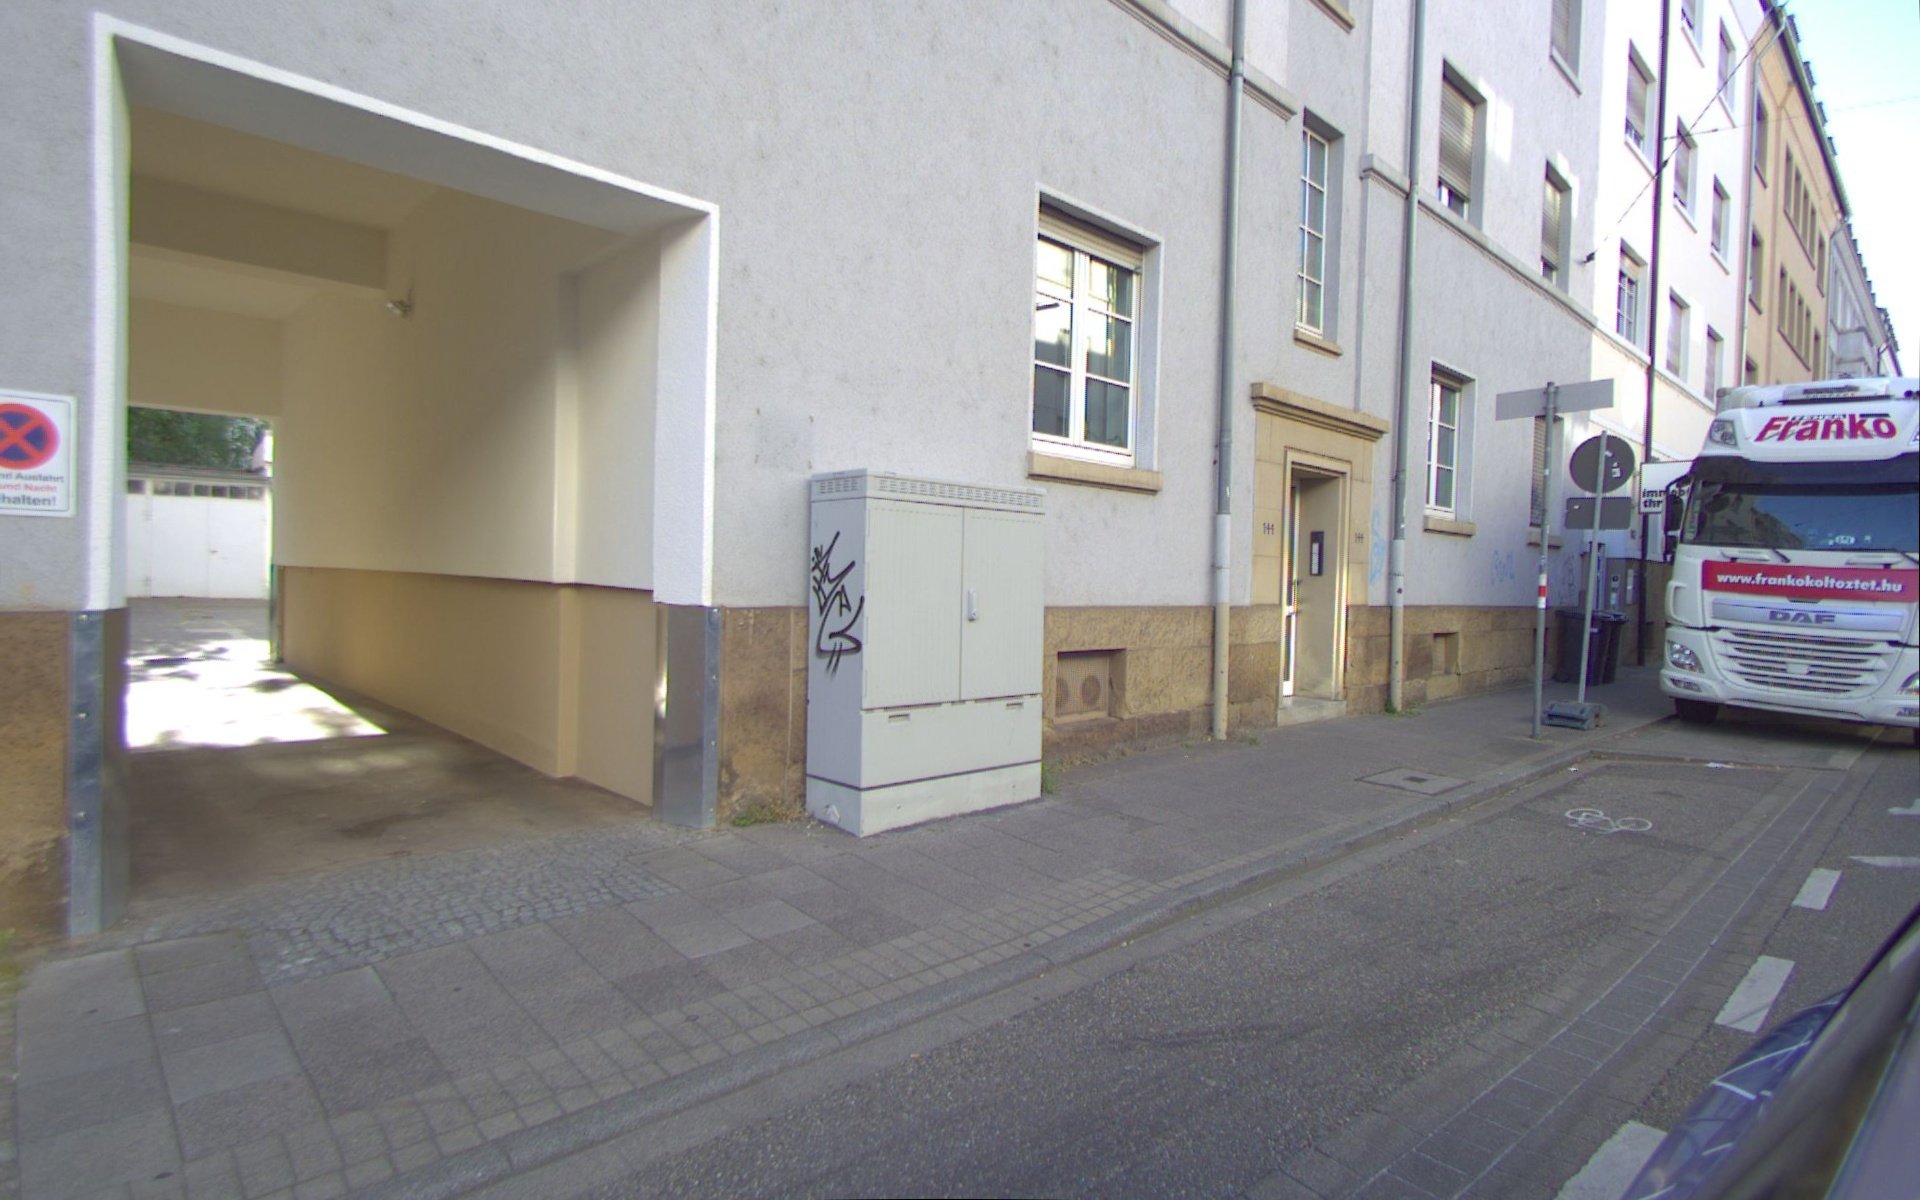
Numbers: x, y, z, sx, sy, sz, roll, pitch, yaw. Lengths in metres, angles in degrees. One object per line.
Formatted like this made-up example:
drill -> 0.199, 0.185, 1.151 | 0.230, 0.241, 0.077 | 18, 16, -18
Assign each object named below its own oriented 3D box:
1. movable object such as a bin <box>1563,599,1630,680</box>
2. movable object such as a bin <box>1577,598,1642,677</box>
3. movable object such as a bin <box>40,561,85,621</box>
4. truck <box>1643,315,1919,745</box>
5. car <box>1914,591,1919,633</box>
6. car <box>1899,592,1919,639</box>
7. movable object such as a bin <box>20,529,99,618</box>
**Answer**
movable object such as a bin -> 9.174, 0.549, 14.591 | 0.560, 1.107, 0.665 | 0, 2, -43
movable object such as a bin -> 9.654, 0.540, 15.042 | 0.560, 1.107, 0.665 | 0, 2, -43
movable object such as a bin -> -14.373, -0.146, 16.203 | 0.518, 0.922, 0.580 | 0, 2, -43
truck -> 12.579, -0.682, 13.883 | 11.621, 3.975, 2.778 | 0, 2, -44
car -> 37.679, 0.456, 38.633 | 4.080, 1.551, 1.681 | 0, 0, -44
car -> 33.509, 0.524, 34.735 | 4.080, 1.551, 1.681 | 0, 0, -44
movable object such as a bin -> -15.150, -0.453, 17.021 | 0.946, 1.426, 1.597 | 0, 2, -43
